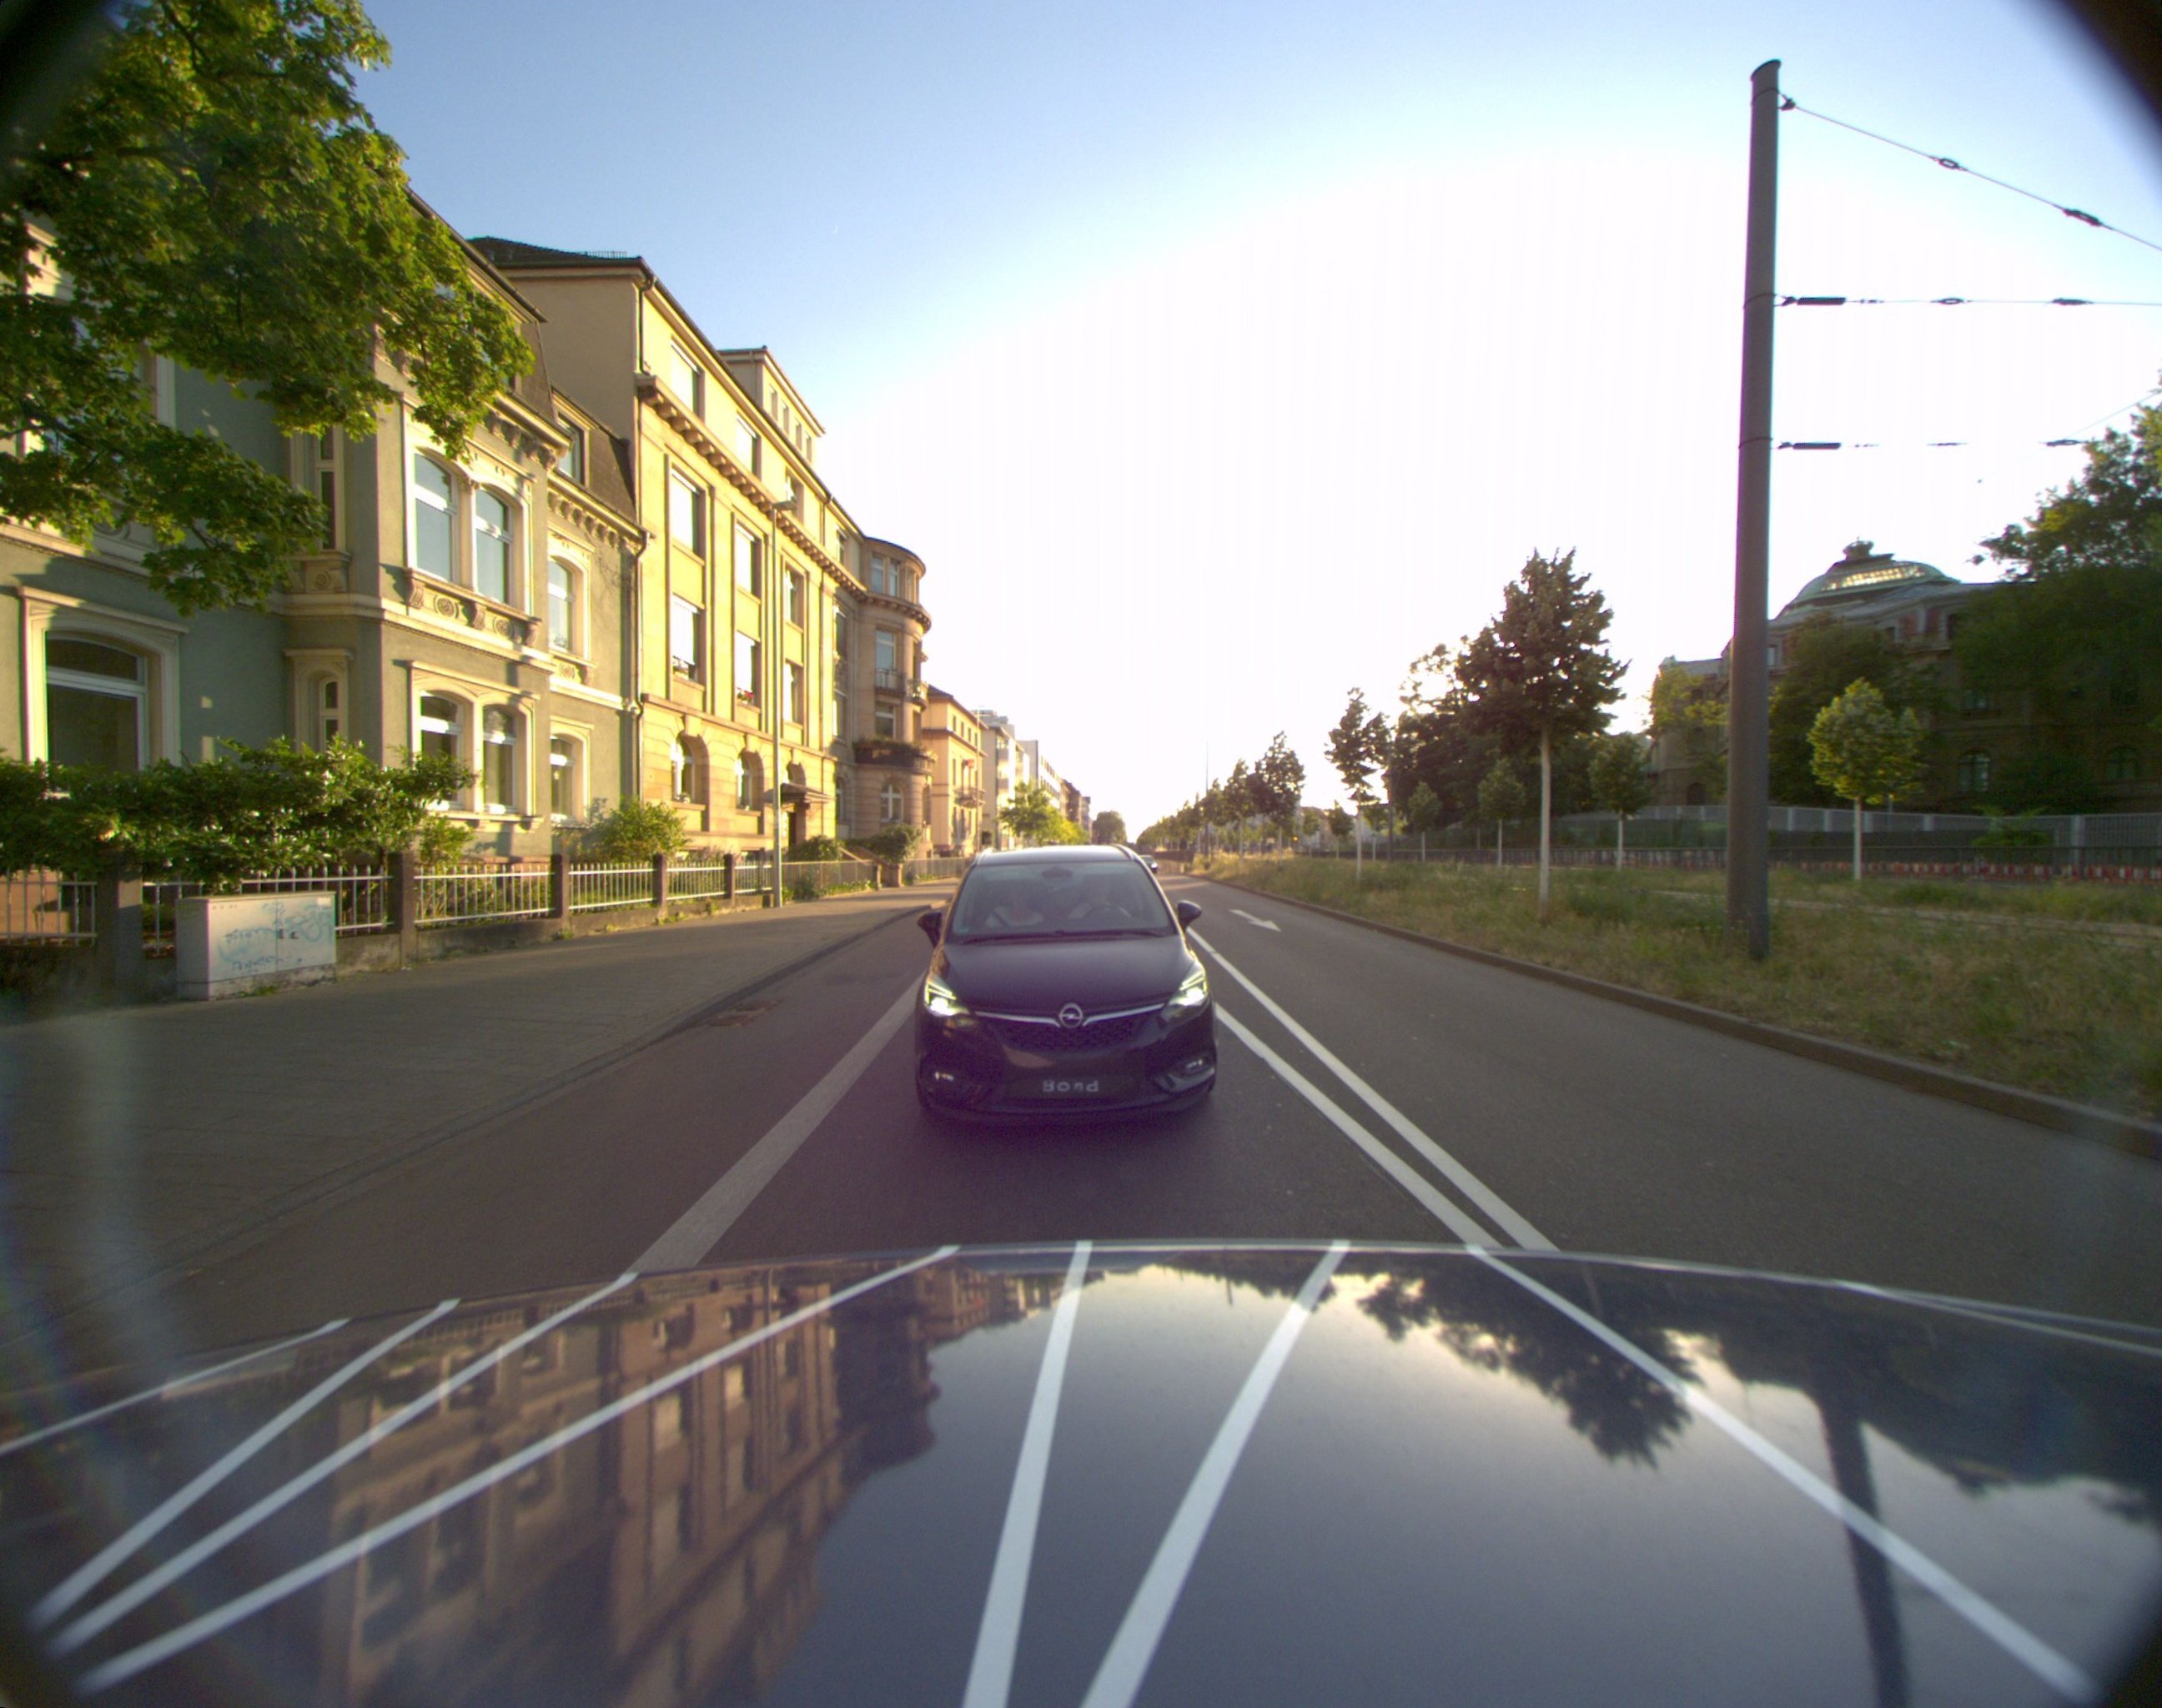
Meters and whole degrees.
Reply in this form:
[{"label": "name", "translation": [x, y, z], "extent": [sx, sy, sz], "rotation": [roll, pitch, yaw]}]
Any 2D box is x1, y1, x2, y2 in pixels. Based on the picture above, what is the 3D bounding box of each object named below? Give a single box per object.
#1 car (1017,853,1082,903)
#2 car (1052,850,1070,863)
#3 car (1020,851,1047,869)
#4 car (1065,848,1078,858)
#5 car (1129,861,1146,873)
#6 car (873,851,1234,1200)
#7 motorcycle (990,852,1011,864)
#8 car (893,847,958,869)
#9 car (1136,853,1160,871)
[{"label": "car", "translation": [-0.956, 0.726, 24.644], "extent": [1.859, 1.425, 4.842], "rotation": [-2, -1, -1]}, {"label": "car", "translation": [-2.401, 0.247, 91.976], "extent": [1.937, 1.472, 4.100], "rotation": [-1, 0, 1]}, {"label": "car", "translation": [-3.856, 0.442, 62.760], "extent": [1.882, 1.394, 4.100], "rotation": [-1, 0, 1]}, {"label": "car", "translation": [-1.438, -0.178, 121.552], "extent": [1.937, 1.472, 4.100], "rotation": [-1, 0, 1]}, {"label": "car", "translation": [6.912, 1.587, 92.678], "extent": [1.859, 1.425, 4.844], "rotation": [-2, -1, 2]}, {"label": "car", "translation": [-0.257, 0.838, 6.201], "extent": [1.771, 1.649, 4.850], "rotation": [-1, 1, -3]}, {"label": "motorcycle", "translation": [-7.467, 0.374, 70.261], "extent": [1.848, 1.090, 0.576], "rotation": [-1, 1, 8]}, {"label": "car", "translation": [-11.012, 0.252, 53.932], "extent": [4.096, 1.472, 1.938], "rotation": [-1, 1, 3]}, {"label": "car", "translation": [5.638, 0.693, 64.531], "extent": [1.859, 1.425, 4.844], "rotation": [-2, -1, 3]}]
